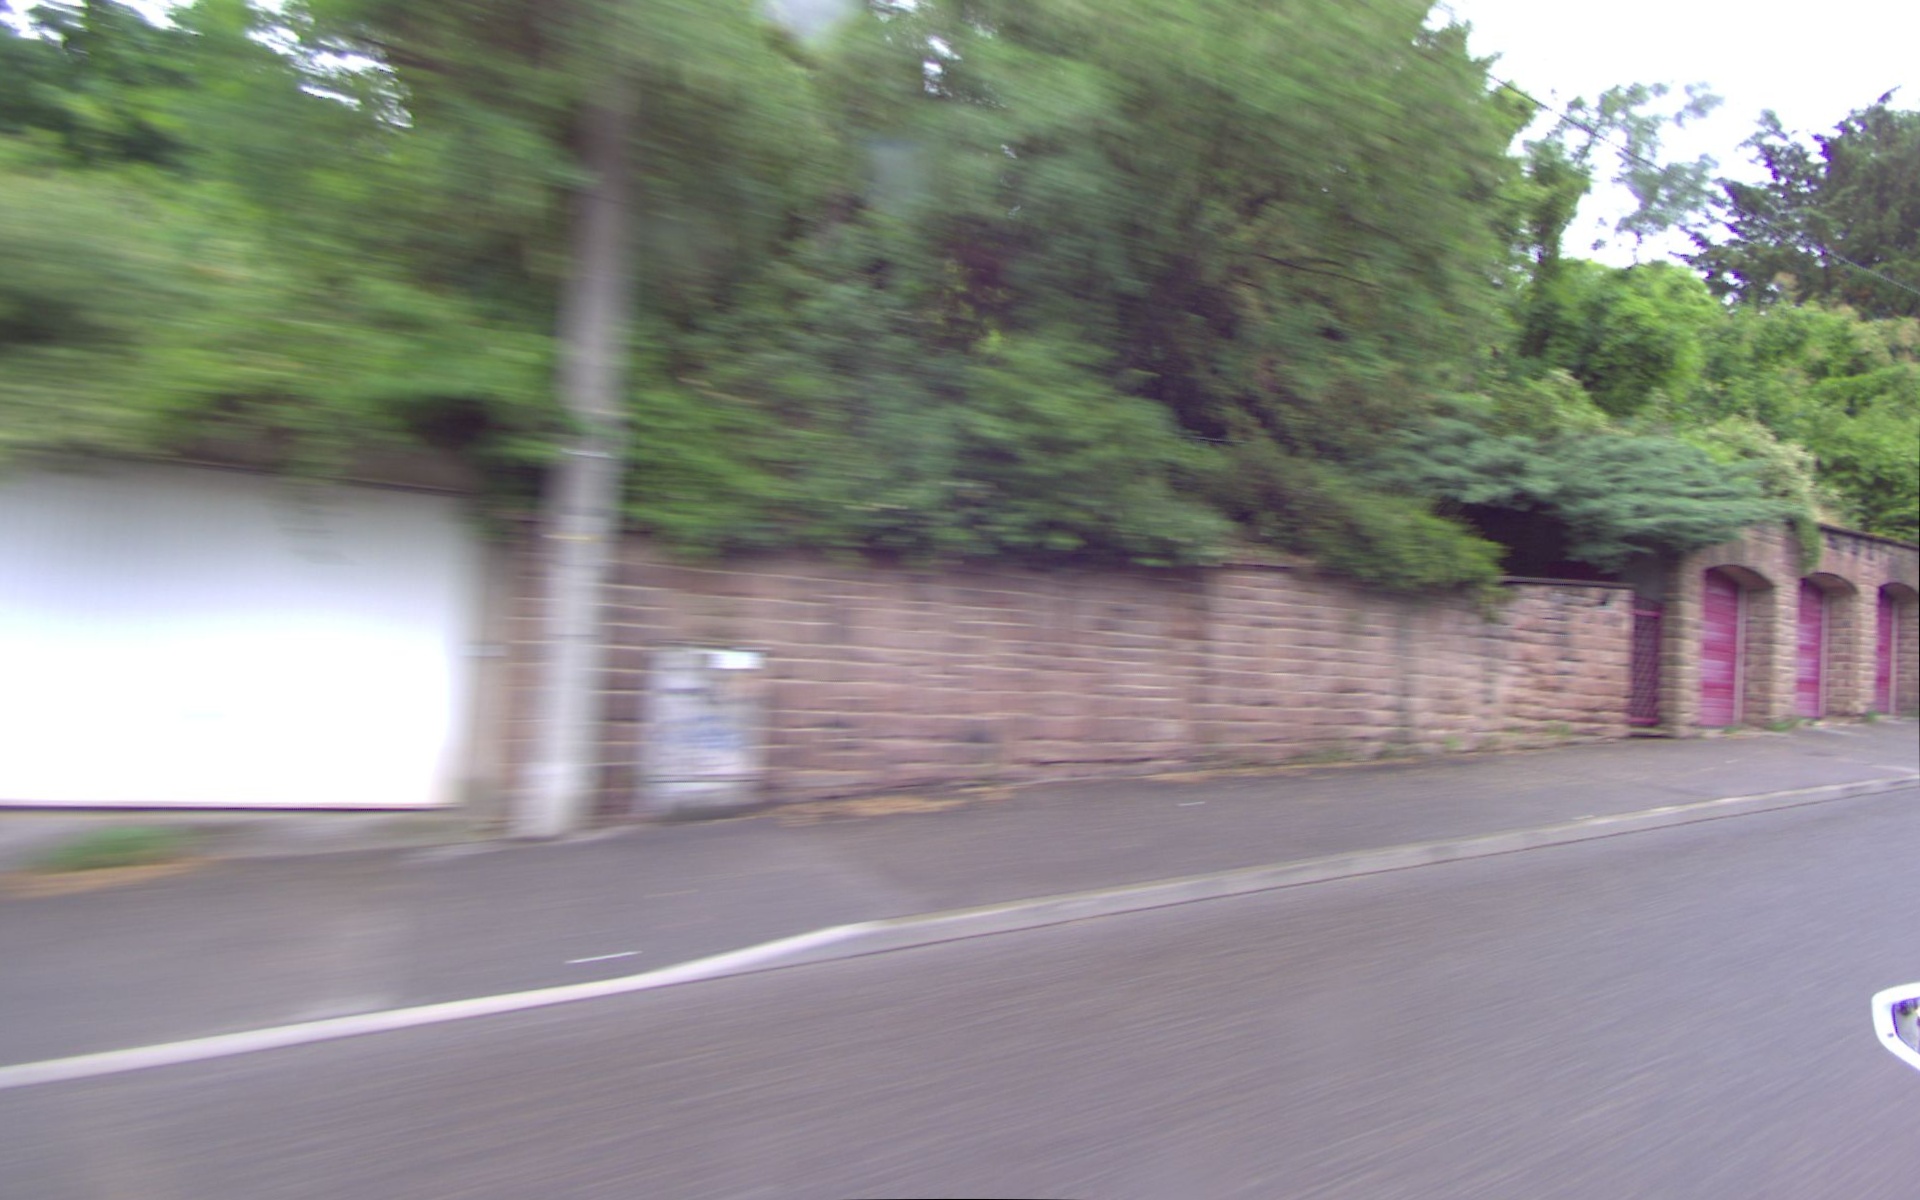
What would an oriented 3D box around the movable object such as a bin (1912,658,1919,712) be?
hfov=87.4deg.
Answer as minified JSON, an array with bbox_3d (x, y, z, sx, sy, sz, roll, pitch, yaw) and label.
[{"bbox_3d":[16.854,1.473,17.179,0.669,0.932,0.655,1,1,-30],"label":"movable object such as a bin"}]
